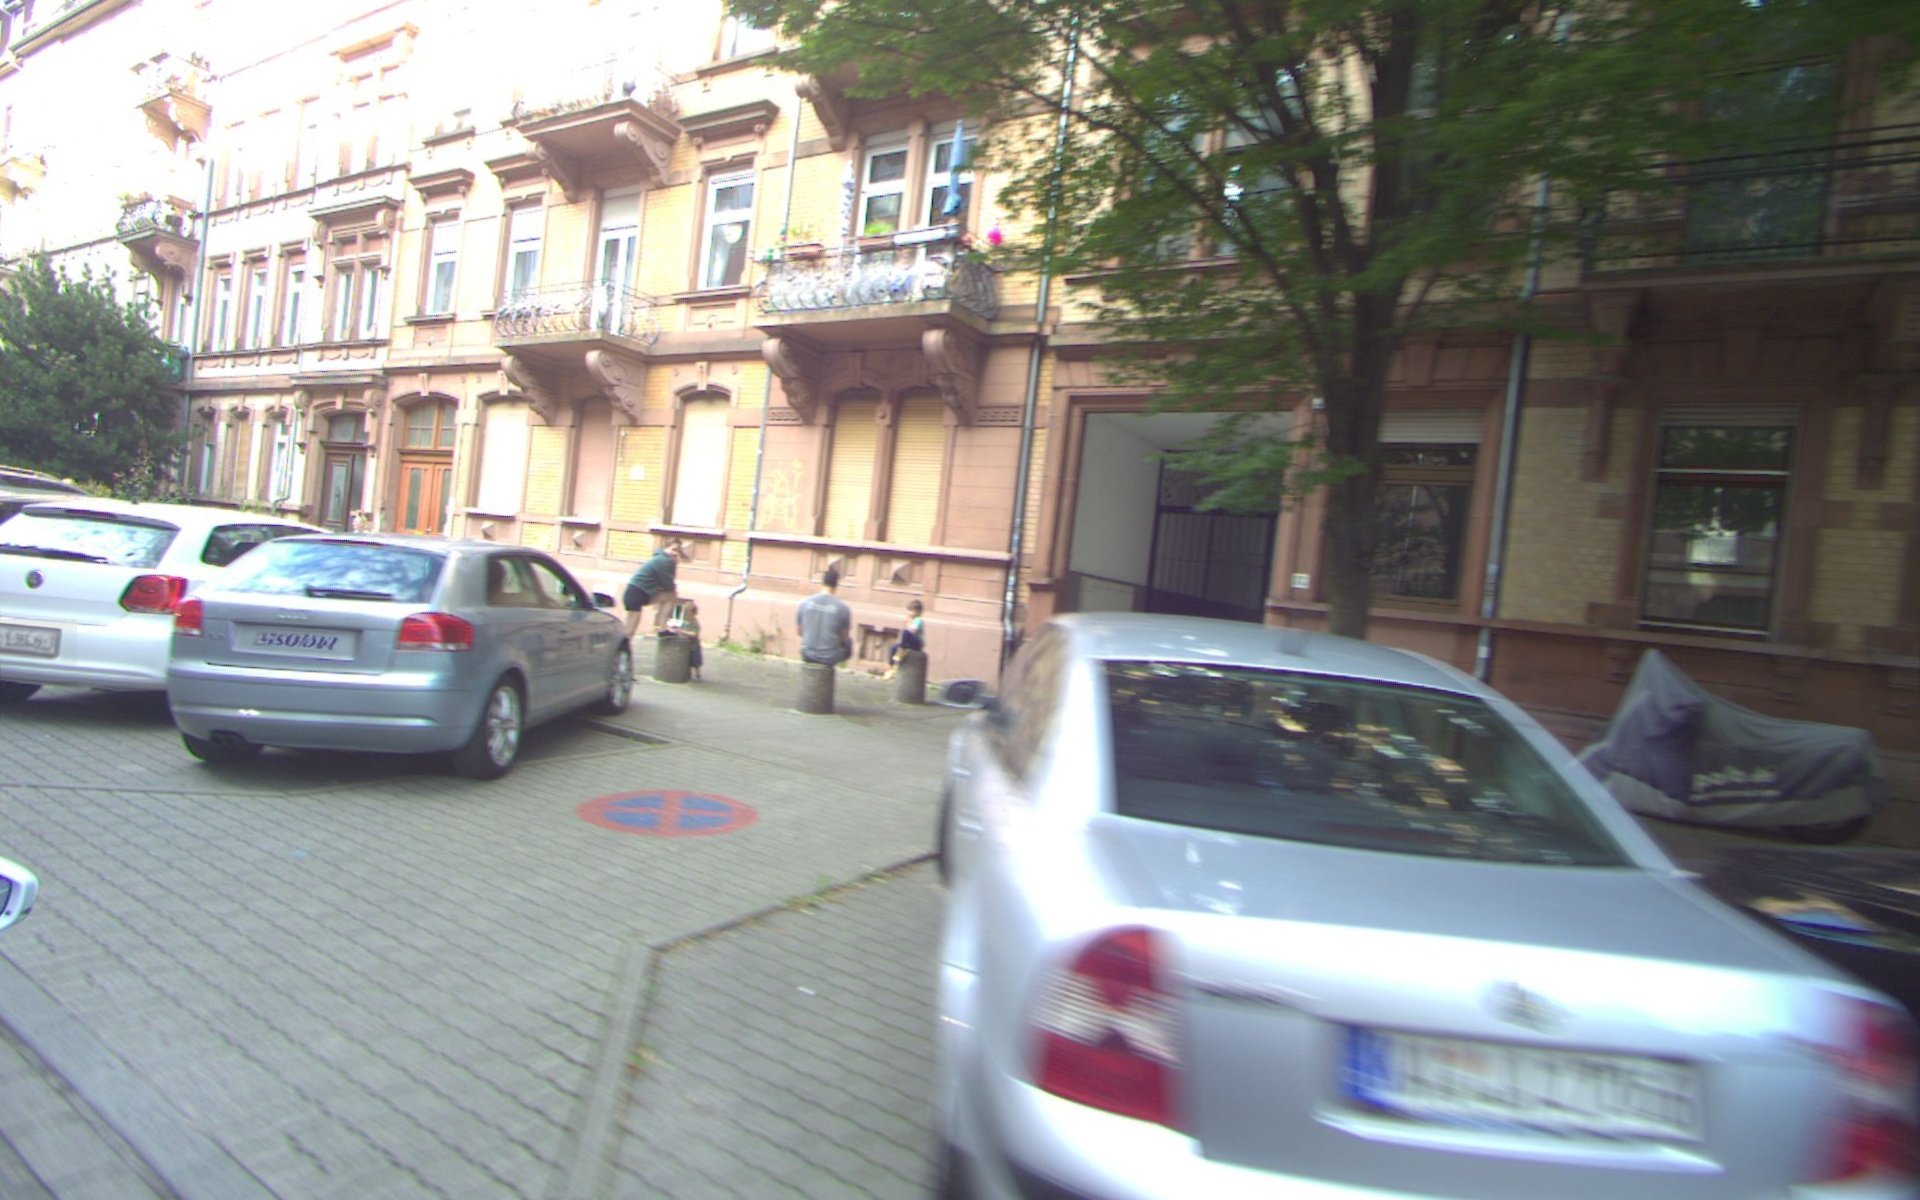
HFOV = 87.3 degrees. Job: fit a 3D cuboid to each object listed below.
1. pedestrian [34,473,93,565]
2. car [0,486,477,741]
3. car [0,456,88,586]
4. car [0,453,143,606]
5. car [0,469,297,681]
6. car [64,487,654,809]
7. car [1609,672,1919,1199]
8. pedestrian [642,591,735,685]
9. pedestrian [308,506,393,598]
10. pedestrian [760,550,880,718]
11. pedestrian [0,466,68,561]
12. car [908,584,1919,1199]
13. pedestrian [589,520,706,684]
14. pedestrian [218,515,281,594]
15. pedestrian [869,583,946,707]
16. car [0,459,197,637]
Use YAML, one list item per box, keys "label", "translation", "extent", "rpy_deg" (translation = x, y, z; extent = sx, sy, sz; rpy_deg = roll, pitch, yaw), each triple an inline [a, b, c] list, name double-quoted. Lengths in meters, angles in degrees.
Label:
- label: "pedestrian"
  translation: [-17.498, -1.574, 19.639]
  extent: [0.622, 1.679, 0.574]
  rpy_deg: [7, 0, 32]
- label: "car"
  translation: [-5.751, -0.021, 8.097]
  extent: [1.703, 1.470, 3.995]
  rpy_deg: [5, 2, 0]
- label: "car"
  translation: [-15.335, -1.278, 13.877]
  extent: [1.779, 1.809, 4.637]
  rpy_deg: [9, 4, 31]
- label: "car"
  translation: [-12.433, -0.929, 11.963]
  extent: [1.722, 1.847, 4.400]
  rpy_deg: [5, 2, 1]
- label: "car"
  translation: [-8.190, -0.338, 9.121]
  extent: [1.835, 1.569, 3.993]
  rpy_deg: [6, 2, -5]
- label: "car"
  translation: [-3.627, 0.200, 7.068]
  extent: [1.853, 1.480, 3.995]
  rpy_deg: [5, 1, -3]
- label: "car"
  translation: [3.534, 1.120, 1.743]
  extent: [1.835, 1.435, 4.134]
  rpy_deg: [7, 0, -3]
- label: "pedestrian"
  translation: [-3.075, 0.424, 11.395]
  extent: [0.782, 0.973, 0.554]
  rpy_deg: [6, 1, 30]
- label: "pedestrian"
  translation: [-10.937, -0.847, 18.073]
  extent: [0.798, 1.516, 0.929]
  rpy_deg: [7, 2, 25]
- label: "pedestrian"
  translation: [-1.394, 0.333, 10.162]
  extent: [0.986, 1.521, 0.719]
  rpy_deg: [7, 1, -6]
- label: "pedestrian"
  translation: [-18.177, -1.666, 19.697]
  extent: [0.687, 1.715, 0.647]
  rpy_deg: [7, 0, -11]
- label: "car"
  translation: [0.836, 0.781, 3.681]
  extent: [1.759, 1.471, 4.608]
  rpy_deg: [6, 1, 0]
- label: "pedestrian"
  translation: [-3.354, 0.023, 10.815]
  extent: [0.819, 1.655, 0.731]
  rpy_deg: [6, 2, 30]
- label: "pedestrian"
  translation: [-11.849, -0.761, 16.778]
  extent: [0.662, 1.236, 0.600]
  rpy_deg: [7, 4, 32]
- label: "pedestrian"
  translation: [-0.609, 0.509, 11.451]
  extent: [0.707, 1.295, 0.570]
  rpy_deg: [6, -1, -6]
- label: "car"
  translation: [-10.392, -0.614, 10.381]
  extent: [1.805, 1.763, 3.998]
  rpy_deg: [6, 1, 1]
